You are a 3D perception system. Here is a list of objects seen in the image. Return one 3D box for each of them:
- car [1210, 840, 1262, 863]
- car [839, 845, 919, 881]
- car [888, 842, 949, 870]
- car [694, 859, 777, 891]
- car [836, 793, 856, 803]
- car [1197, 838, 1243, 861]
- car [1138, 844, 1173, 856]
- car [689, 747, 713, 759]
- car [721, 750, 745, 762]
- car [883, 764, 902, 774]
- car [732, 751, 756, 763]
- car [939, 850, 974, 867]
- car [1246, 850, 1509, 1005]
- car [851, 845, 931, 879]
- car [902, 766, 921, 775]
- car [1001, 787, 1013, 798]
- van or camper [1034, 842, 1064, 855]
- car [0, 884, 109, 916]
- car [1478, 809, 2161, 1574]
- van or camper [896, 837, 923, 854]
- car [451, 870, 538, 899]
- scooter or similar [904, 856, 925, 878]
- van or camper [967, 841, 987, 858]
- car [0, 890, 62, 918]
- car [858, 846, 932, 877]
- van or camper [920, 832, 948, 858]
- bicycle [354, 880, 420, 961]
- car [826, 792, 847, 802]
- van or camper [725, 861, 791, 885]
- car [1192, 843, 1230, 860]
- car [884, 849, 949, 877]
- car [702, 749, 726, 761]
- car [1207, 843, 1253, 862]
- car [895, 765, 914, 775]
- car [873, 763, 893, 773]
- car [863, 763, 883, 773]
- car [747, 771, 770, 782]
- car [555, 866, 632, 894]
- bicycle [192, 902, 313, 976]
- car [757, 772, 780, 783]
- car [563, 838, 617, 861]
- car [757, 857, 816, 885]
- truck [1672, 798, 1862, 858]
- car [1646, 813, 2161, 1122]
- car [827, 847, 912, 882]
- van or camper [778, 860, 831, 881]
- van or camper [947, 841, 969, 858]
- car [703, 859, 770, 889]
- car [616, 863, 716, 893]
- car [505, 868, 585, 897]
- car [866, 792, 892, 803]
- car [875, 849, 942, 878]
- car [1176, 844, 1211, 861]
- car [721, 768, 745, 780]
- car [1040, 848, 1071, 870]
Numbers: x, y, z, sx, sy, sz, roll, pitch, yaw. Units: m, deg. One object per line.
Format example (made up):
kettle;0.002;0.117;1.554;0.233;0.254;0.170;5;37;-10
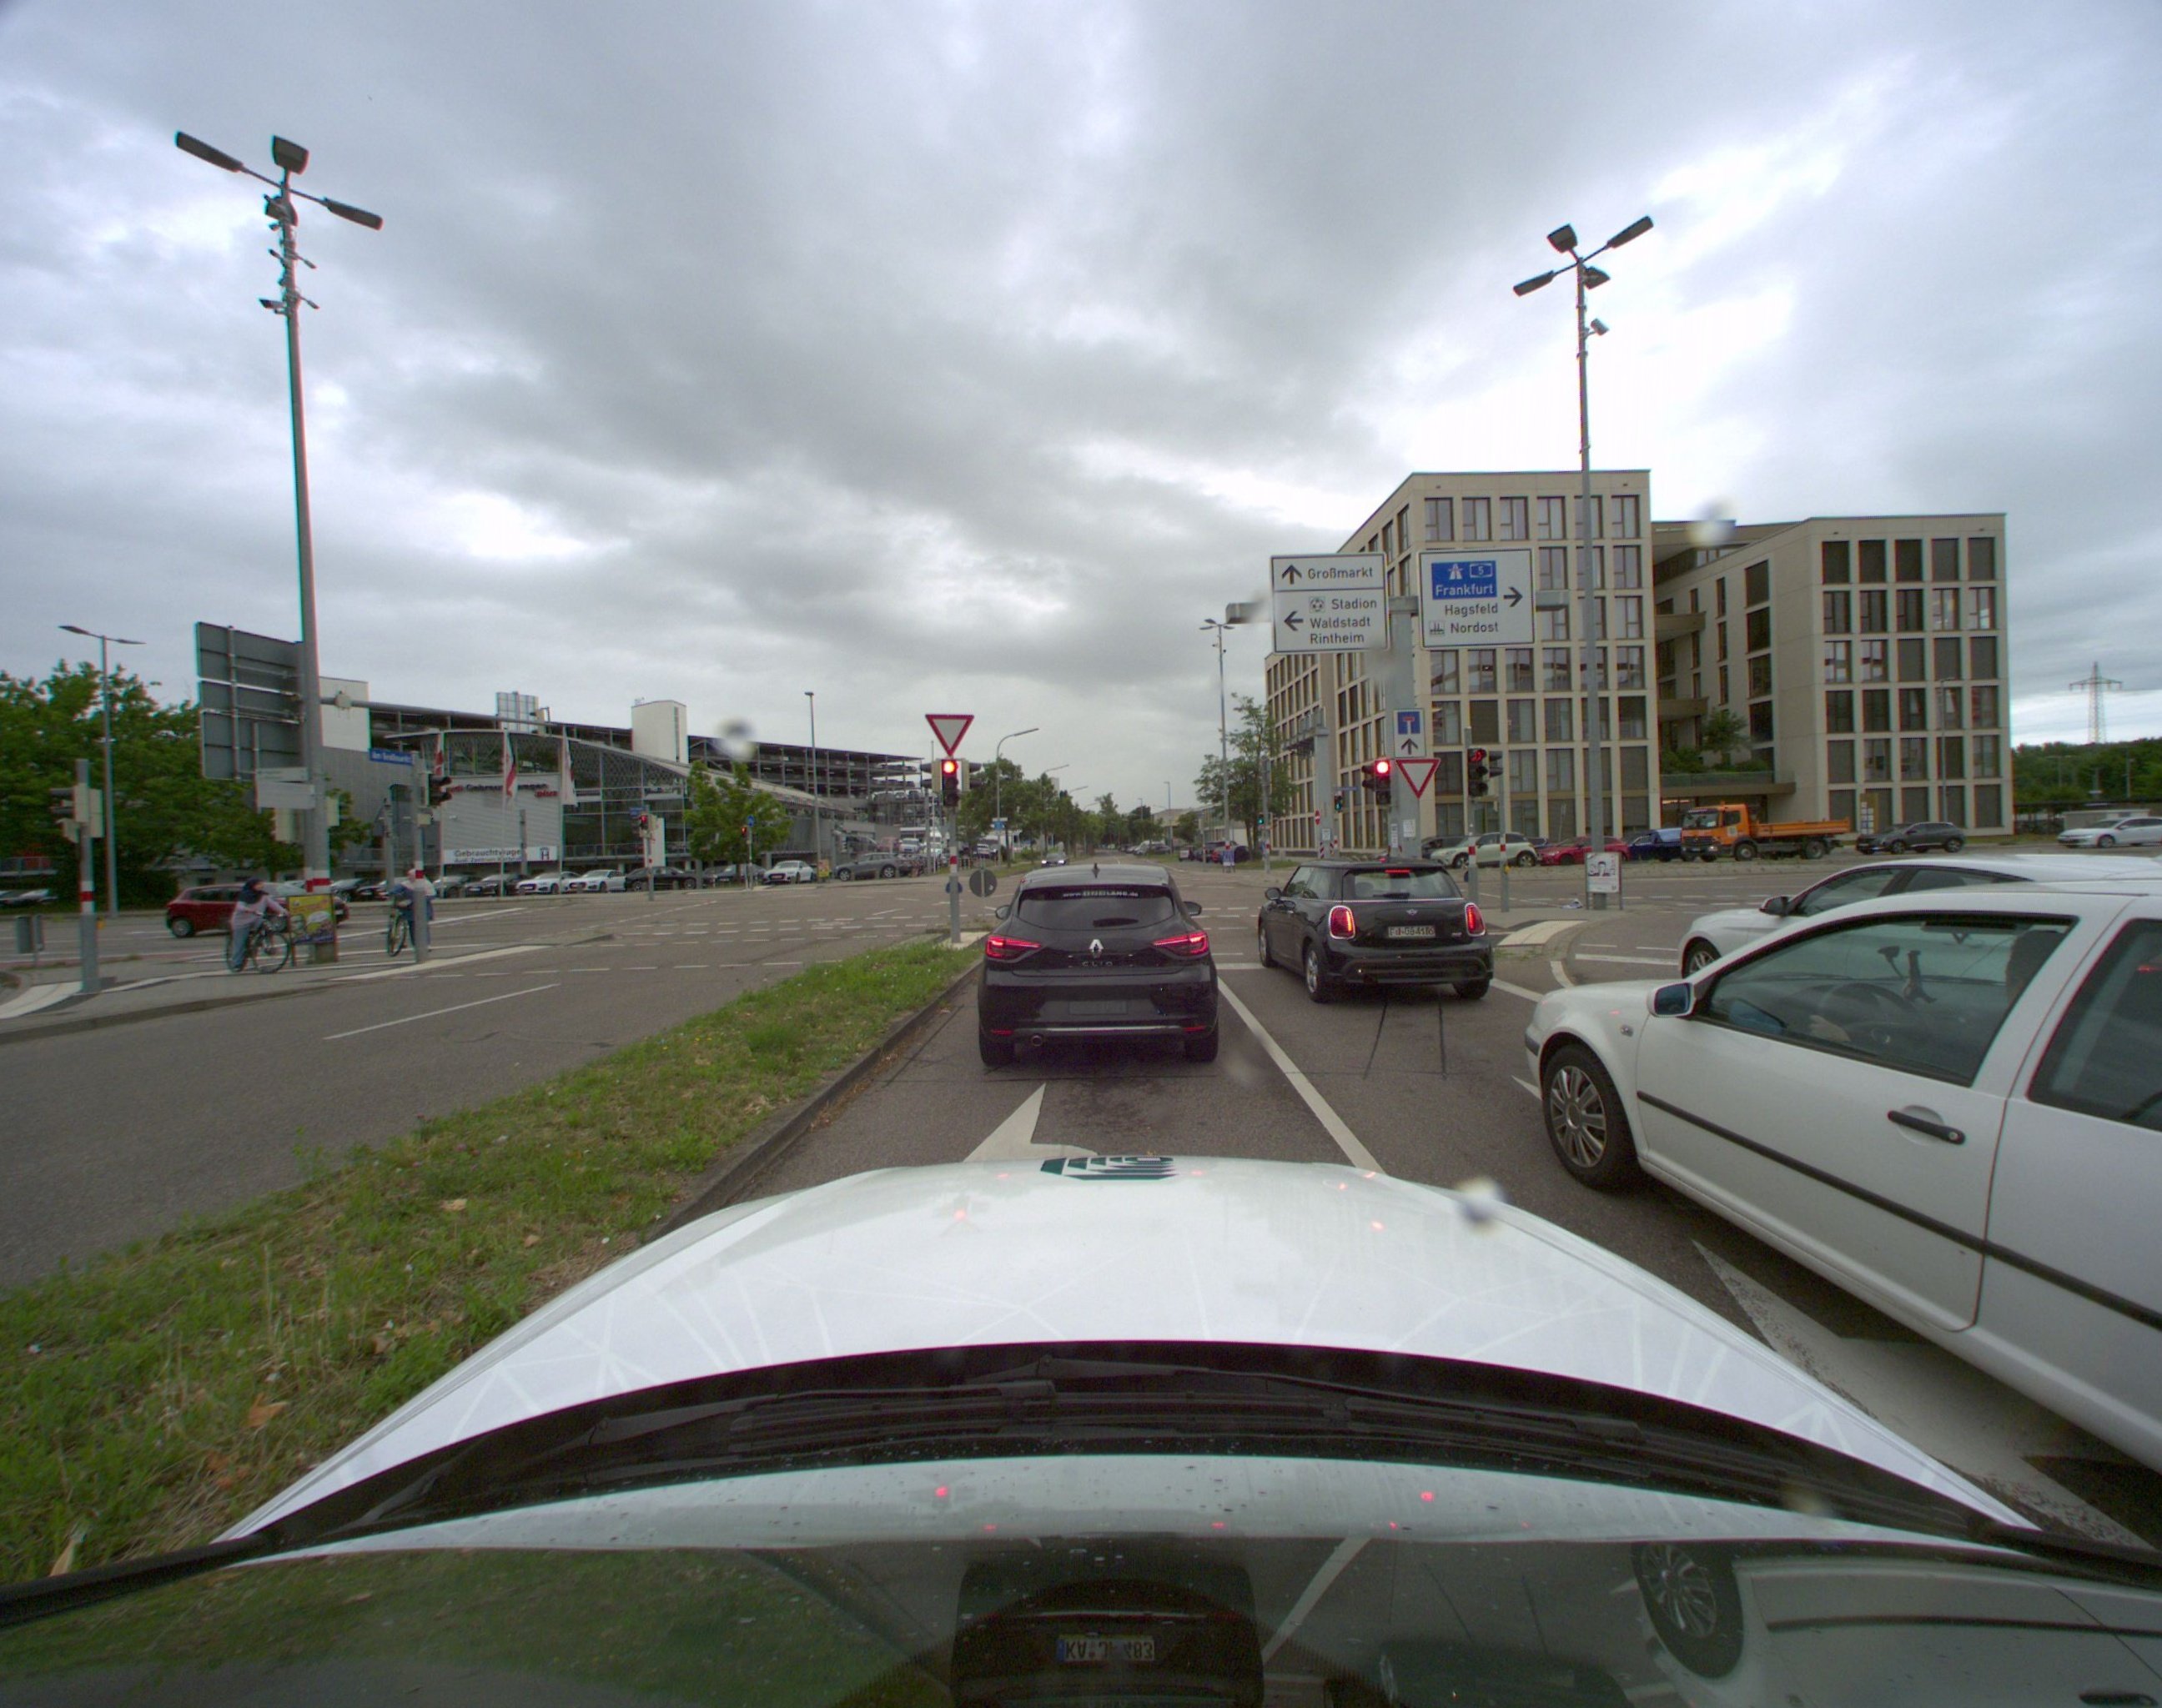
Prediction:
car;12.678;-0.196;66.521;4.153;1.768;1.867;-1;-1;-38
car;-13.330;0.572;54.024;4.690;2.013;1.998;-4;0;-3
car;-14.029;0.182;70.533;4.882;2.013;1.998;-4;0;-3
car;-23.777;1.415;56.200;4.788;1.939;1.999;-2;0;-1
car;-48.234;-11.441;167.117;3.948;1.667;2.013;-1;0;33
car;12.671;-0.411;74.116;1.975;1.965;4.271;-2;-1;43
car;11.266;-0.545;123.682;5.158;1.720;2.143;0;-1;-1
car;-65.623;-17.399;140.698;3.948;1.667;2.013;-1;0;33
car;-62.128;-17.386;145.271;3.948;1.667;2.013;-1;0;33
car;-41.200;-18.557;177.891;3.948;1.667;2.013;-1;0;33
car;-61.002;-17.591;147.427;3.948;1.667;2.013;-1;0;33
car;-15.204;0.521;99.475;3.975;2.014;1.999;0;-1;-1
car;3.104;0.695;9.336;1.779;1.416;3.644;0;-1;2
car;-13.253;0.535;57.033;5.011;2.013;2.264;-4;0;-3
car;-38.047;-18.754;183.118;3.948;1.667;2.013;-1;0;33
car;-14.522;-12.007;159.520;1.989;1.882;3.996;-2;-1;-2
van or camper;-5.923;-1.052;152.210;5.580;2.372;2.000;0;-1;0
car;-57.772;2.602;45.455;1.865;1.603;4.245;0;-6;-2
car;3.024;0.653;2.424;1.826;1.478;4.006;0;-1;2
van or camper;-17.663;-0.814;83.944;1.988;1.651;3.997;0;-1;-2
car;-32.845;1.719;45.752;1.860;1.486;4.229;-2;-2;-1
scooter or similar;-9.953;0.759;48.699;0.553;1.218;1.567;1;1;16
van or camper;-12.134;-0.514;95.360;1.988;2.014;3.997;0;-1;-2
car;-60.434;2.775;45.421;1.815;1.487;4.216;0;-6;-2
car;-13.588;0.547;59.671;4.938;1.876;2.050;-4;-1;-5
van or camper;-17.179;-1.023;95.302;2.529;3.026;4.840;0;-1;-2
bicycle;-13.145;1.246;15.410;1.909;1.396;0.601;-5;0;41
car;-49.439;-11.526;164.712;3.948;1.667;2.013;-1;0;33
van or camper;-23.429;1.382;59.134;3.977;1.677;1.998;0;-1;-3
car;12.396;-0.219;77.527;1.676;1.511;3.840;-2;-1;45
car;-13.637;0.733;67.706;4.882;2.013;1.998;-4;0;-3
car;-64.425;-17.389;142.846;3.948;1.667;2.013;-1;0;33
car;12.991;-0.154;70.904;4.157;1.551;1.865;-1;-1;-43
car;-39.223;-18.713;181.201;3.948;1.667;2.013;-1;0;33
car;-42.678;-18.567;175.816;3.948;1.667;2.013;-1;0;33
car;-44.282;-18.411;173.646;3.948;1.667;2.013;-1;0;33
car;-59.191;-14.265;149.282;3.948;1.667;2.013;-1;0;33
car;-27.536;1.498;46.178;1.841;1.486;4.196;-2;-2;-1
bicycle;-14.012;1.440;13.774;1.927;1.166;0.510;-3;-2;14
car;-58.103;-14.261;151.247;3.948;1.667;2.013;-1;0;33
car;-37.735;-0.314;62.707;1.815;1.662;3.996;0;-1;-3
car;-16.889;0.993;46.938;1.863;1.486;4.227;-3;-2;-1
truck;32.054;-1.172;38.236;6.633;2.638;2.820;0;-1;-1
car;6.107;0.524;5.701;1.819;1.410;4.206;0;-1;8
car;-13.308;0.630;51.452;4.761;1.862;1.998;-4;0;-3
van or camper;-23.740;1.407;69.998;3.977;1.711;1.846;0;-1;-2
van or camper;-14.332;-0.499;95.221;1.988;2.014;3.997;0;-1;-2
car;-19.691;1.188;46.814;2.059;1.486;4.511;-3;-2;-3
car;-23.740;1.411;46.721;4.726;1.486;1.891;-2;-3;-2
car;-30.099;1.610;45.895;1.865;1.486;4.041;-2;-2;-1
car;-43.731;-12.242;176.262;5.263;1.945;2.225;-1;0;30
car;-13.725;0.742;64.986;4.882;2.013;1.998;-4;0;-3
car;11.566;-0.148;83.863;3.451;1.732;1.745;0;-1;-40
car;-62.079;-14.277;145.162;3.948;1.667;2.013;-1;0;33
car;-1.912;0.369;62.793;1.970;1.551;4.617;-2;1;3
